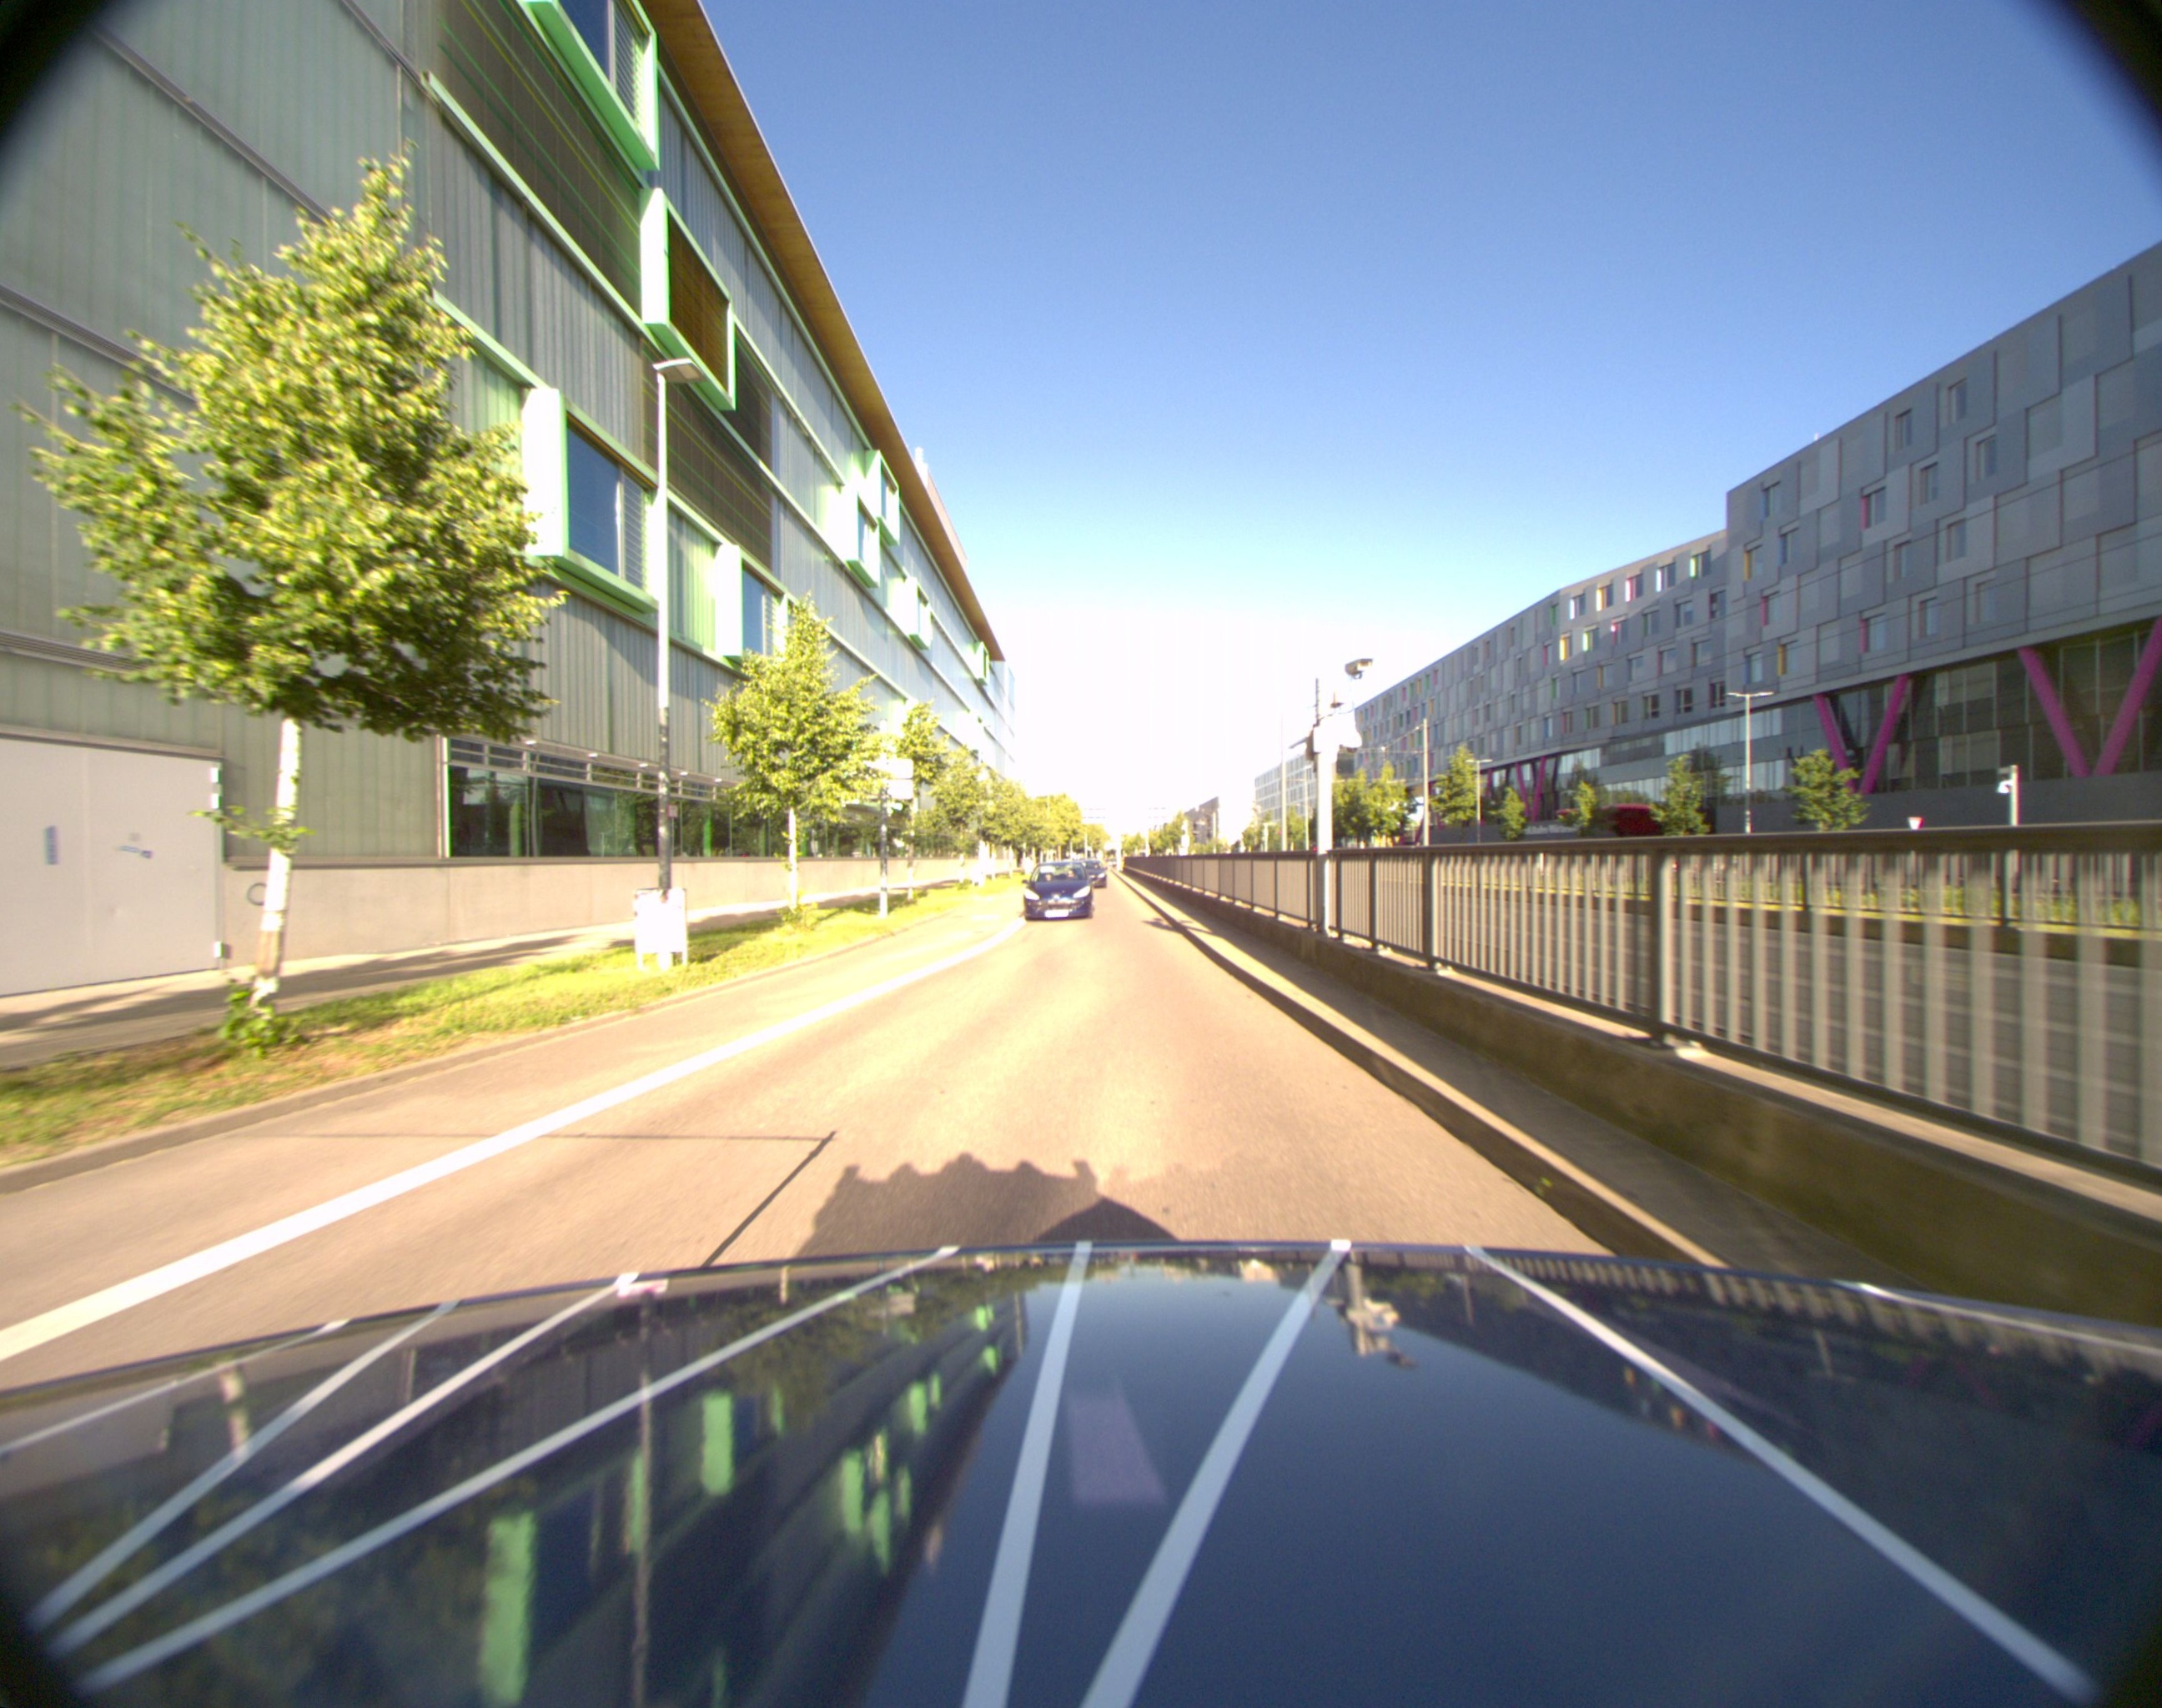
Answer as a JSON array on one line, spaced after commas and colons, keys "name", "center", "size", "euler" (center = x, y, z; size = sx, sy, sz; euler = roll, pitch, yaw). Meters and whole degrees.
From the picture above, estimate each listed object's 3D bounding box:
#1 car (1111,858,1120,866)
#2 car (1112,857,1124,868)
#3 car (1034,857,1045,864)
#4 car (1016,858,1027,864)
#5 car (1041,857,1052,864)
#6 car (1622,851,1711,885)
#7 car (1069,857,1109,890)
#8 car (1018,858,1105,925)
[{"name": "car", "center": [8.009, 1.858, 177.495], "size": [1.998, 1.543, 4.000], "euler": [-4, 0, 2]}, {"name": "car", "center": [5.724, 1.299, 118.711], "size": [1.839, 1.483, 4.006], "euler": [-3, 0, 2]}, {"name": "car", "center": [-9.307, 1.477, 171.629], "size": [1.898, 1.456, 4.038], "euler": [-2, 0, 5]}, {"name": "car", "center": [-15.342, 1.772, 196.950], "size": [1.897, 1.477, 4.916], "euler": [-2, 0, 7]}, {"name": "car", "center": [-8.377, 1.525, 185.428], "size": [1.898, 1.479, 4.348], "euler": [-2, 0, 6]}, {"name": "car", "center": [32.925, 0.763, 42.866], "size": [1.998, 1.828, 4.000], "euler": [0, 0, 1]}, {"name": "car", "center": [0.458, 0.955, 39.785], "size": [1.802, 1.518, 4.606], "euler": [-3, 0, 3]}, {"name": "car", "center": [-0.401, 0.918, 20.684], "size": [1.802, 1.518, 4.607], "euler": [-3, 0, 5]}]
